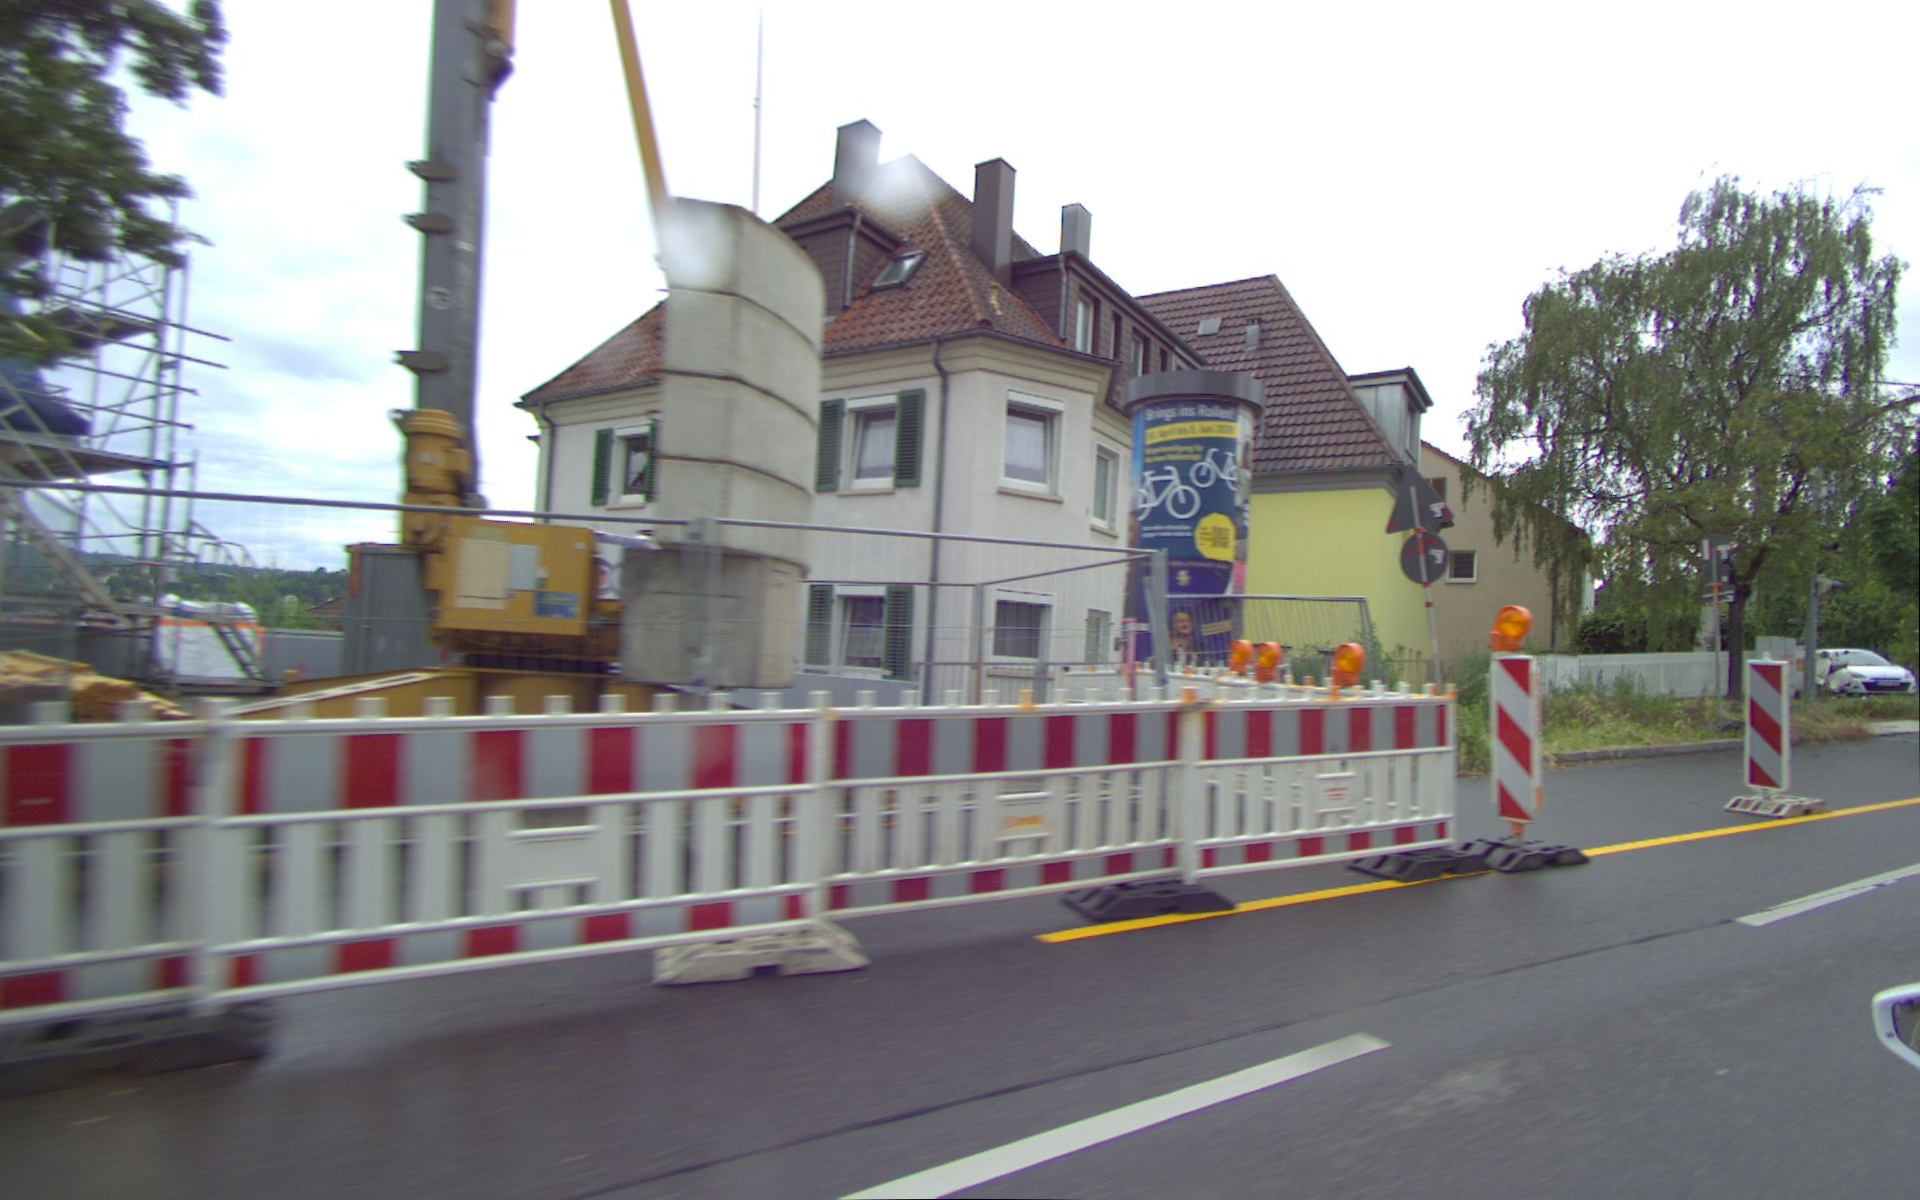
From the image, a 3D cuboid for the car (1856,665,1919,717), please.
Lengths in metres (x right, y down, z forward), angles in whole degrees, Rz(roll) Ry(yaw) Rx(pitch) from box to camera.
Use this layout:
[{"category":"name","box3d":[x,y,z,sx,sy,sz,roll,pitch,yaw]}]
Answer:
[{"category":"car","box3d":[40.422,3.898,43.744,1.725,2.040,3.986,0,-2,36]}]

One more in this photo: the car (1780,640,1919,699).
[{"category":"car","box3d":[25.150,1.994,28.443,1.656,1.528,4.014,-2,-5,19]}]

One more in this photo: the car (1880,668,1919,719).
[{"category":"car","box3d":[37.740,3.643,39.227,1.814,1.773,3.993,1,-1,30]}]

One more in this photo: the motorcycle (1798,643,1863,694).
[{"category":"motorcycle","box3d":[20.379,1.587,23.510,1.822,1.146,0.588,1,-3,-31]}]
